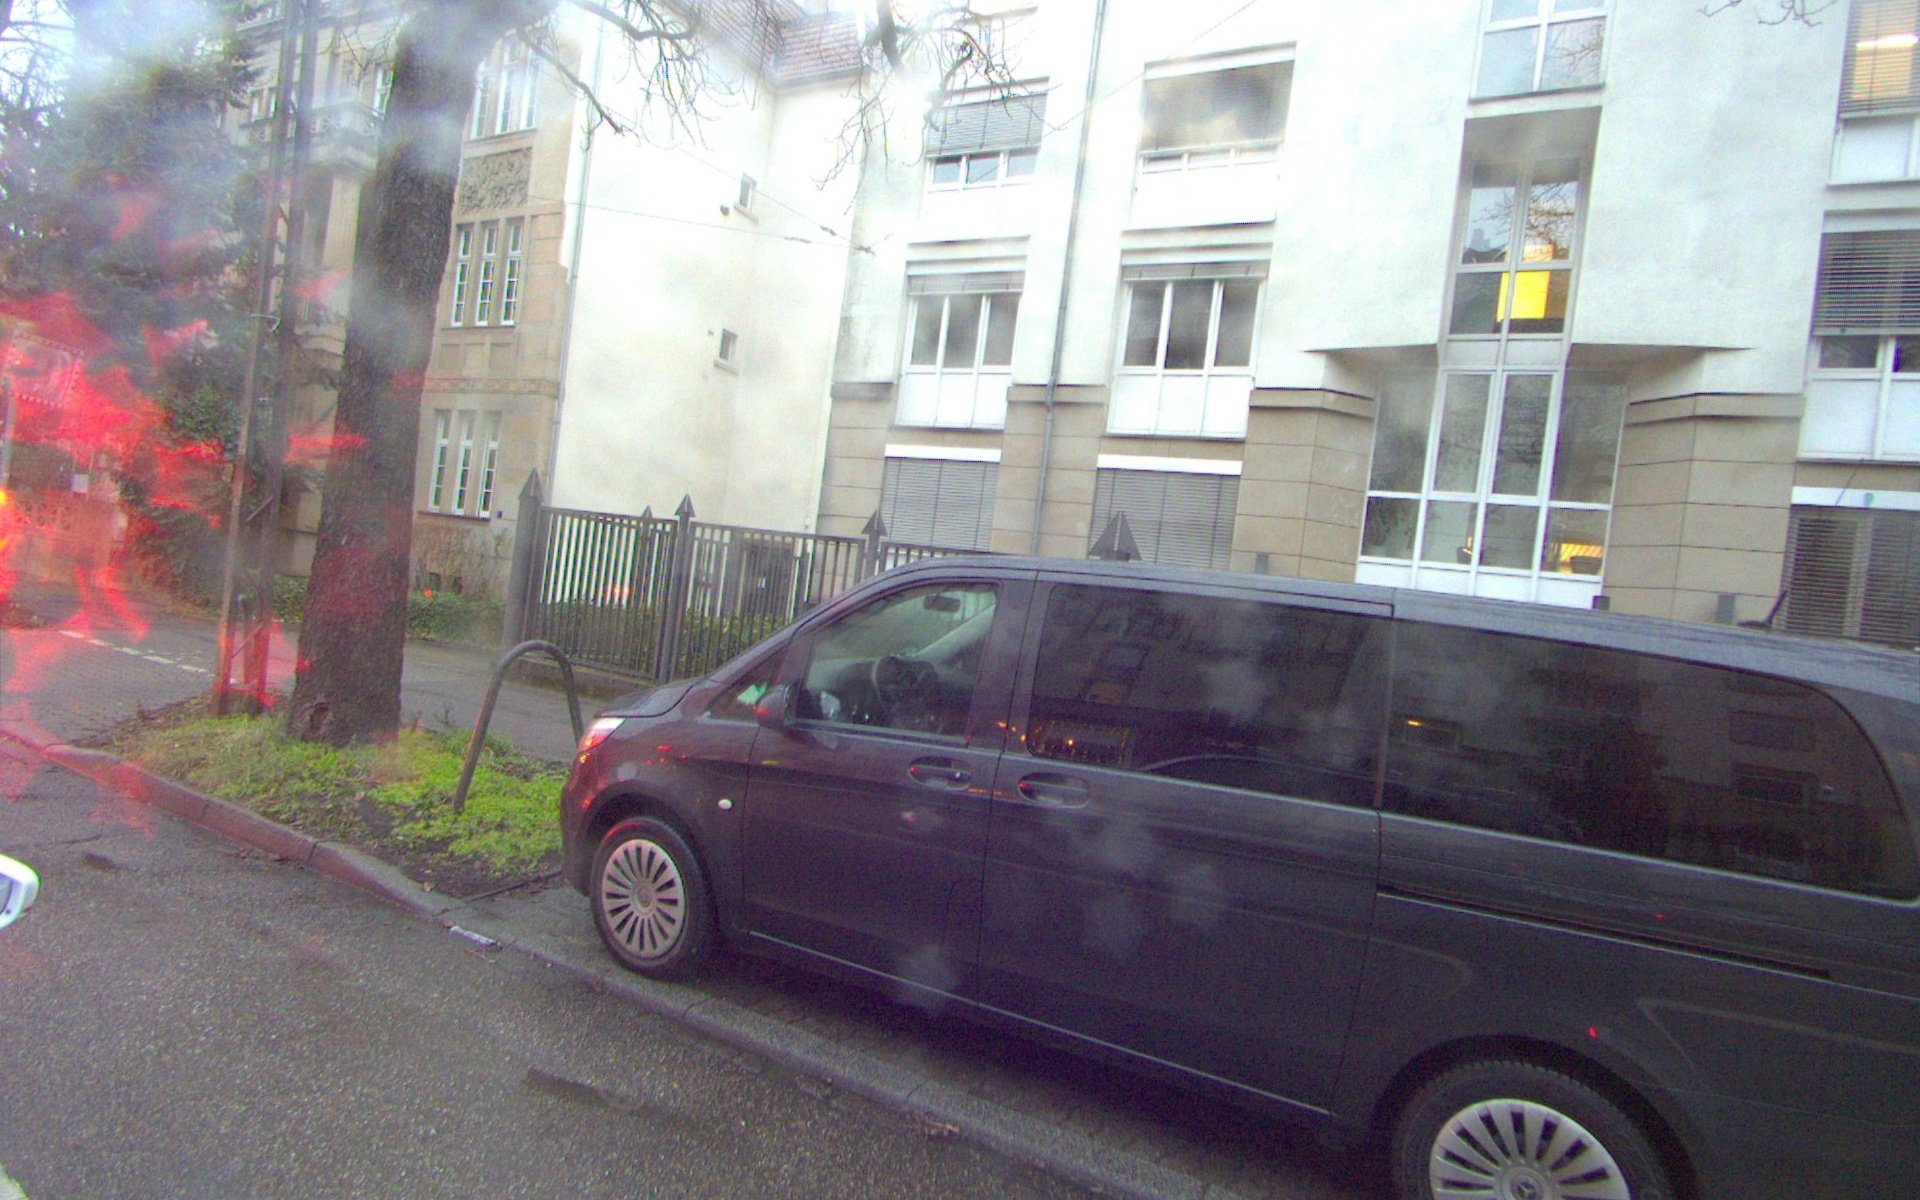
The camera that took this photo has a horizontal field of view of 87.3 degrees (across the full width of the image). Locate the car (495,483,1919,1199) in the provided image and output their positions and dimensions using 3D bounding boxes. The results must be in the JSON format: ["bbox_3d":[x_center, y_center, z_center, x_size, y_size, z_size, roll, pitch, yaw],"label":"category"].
[{"bbox_3d":[0.714,0.780,4.061,4.877,1.899,2.034,7,0,28],"label":"car"}]
